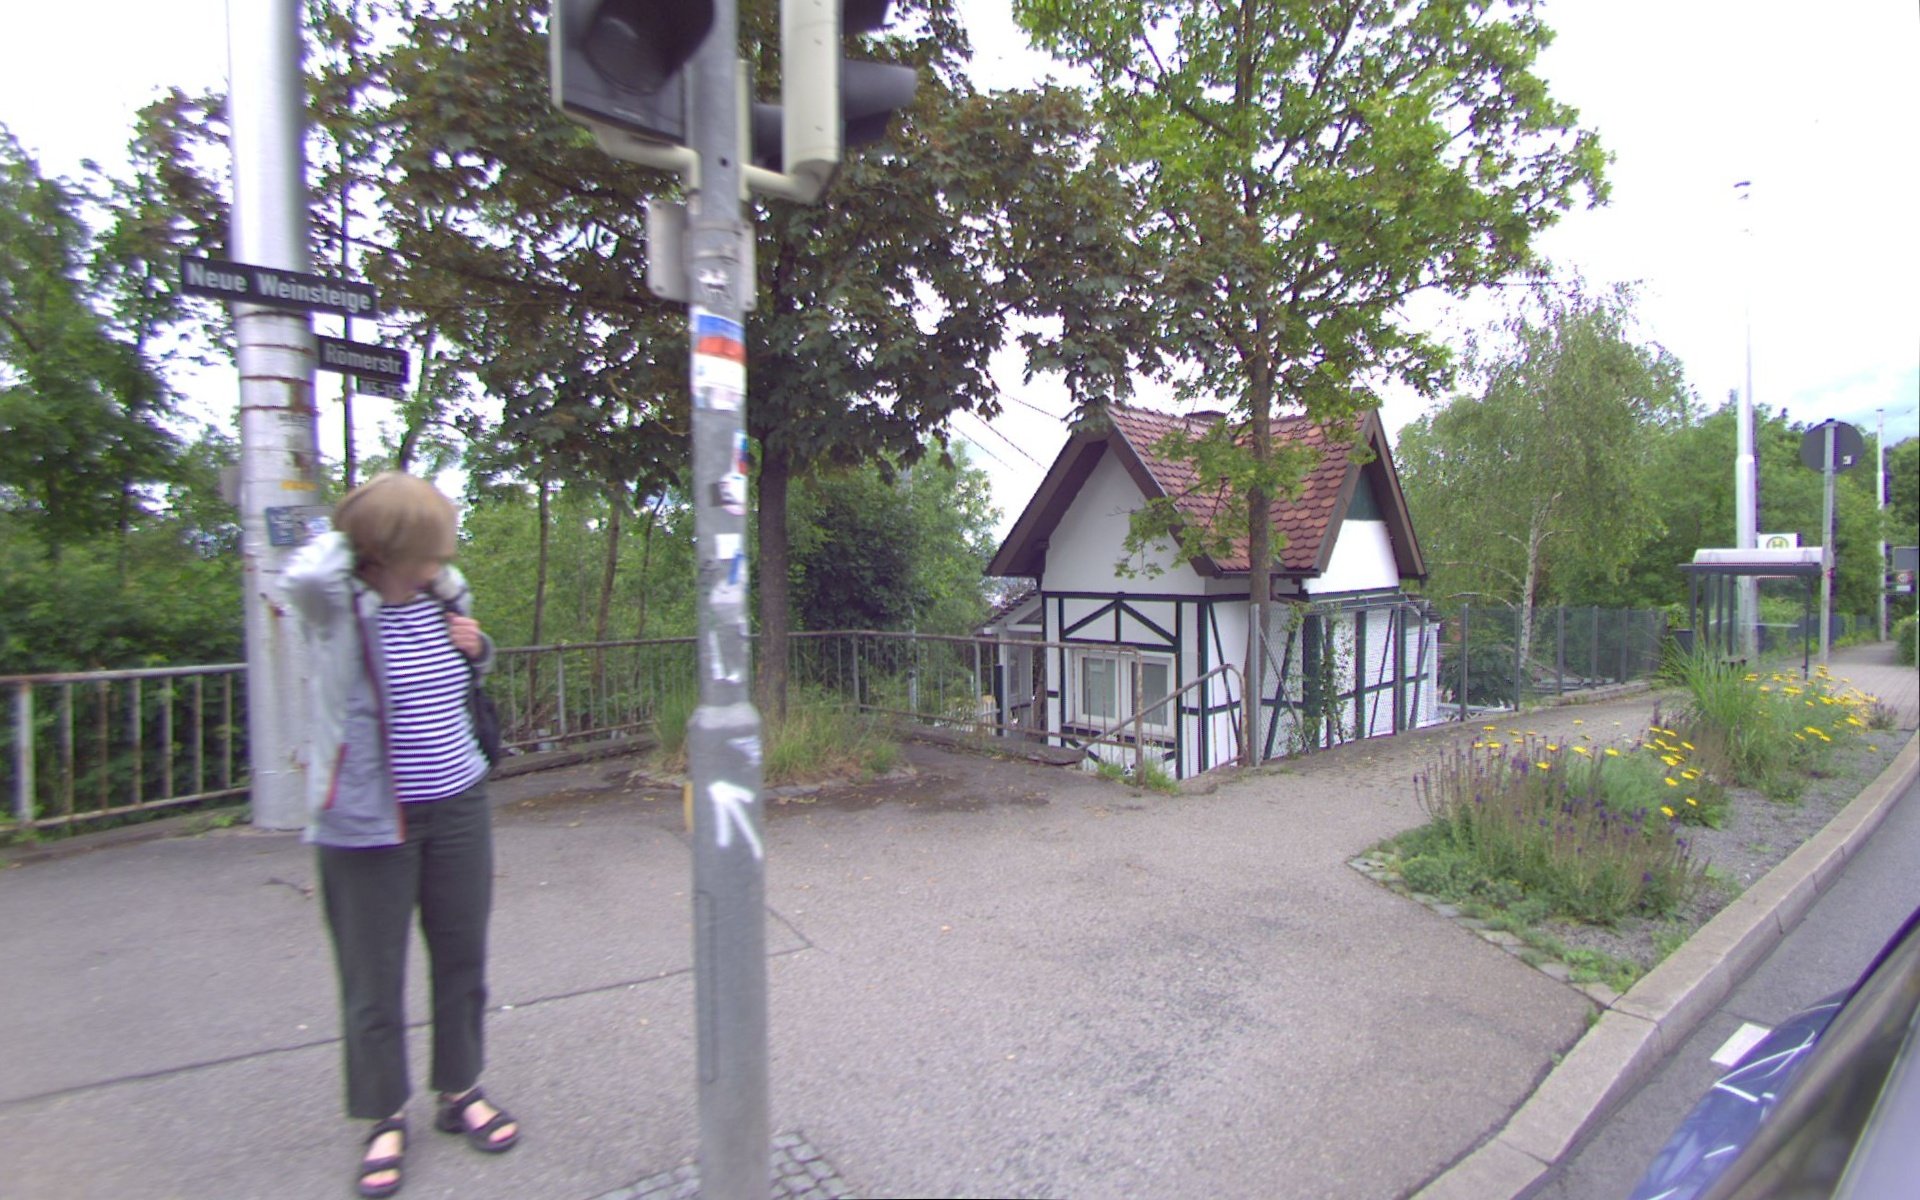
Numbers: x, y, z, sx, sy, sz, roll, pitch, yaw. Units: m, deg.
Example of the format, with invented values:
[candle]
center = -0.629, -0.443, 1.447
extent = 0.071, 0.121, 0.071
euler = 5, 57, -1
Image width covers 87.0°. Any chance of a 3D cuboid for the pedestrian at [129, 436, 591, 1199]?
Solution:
[pedestrian]
center = -1.353, 0.522, 2.348
extent = 0.686, 1.710, 0.617
euler = 2, 1, 17
